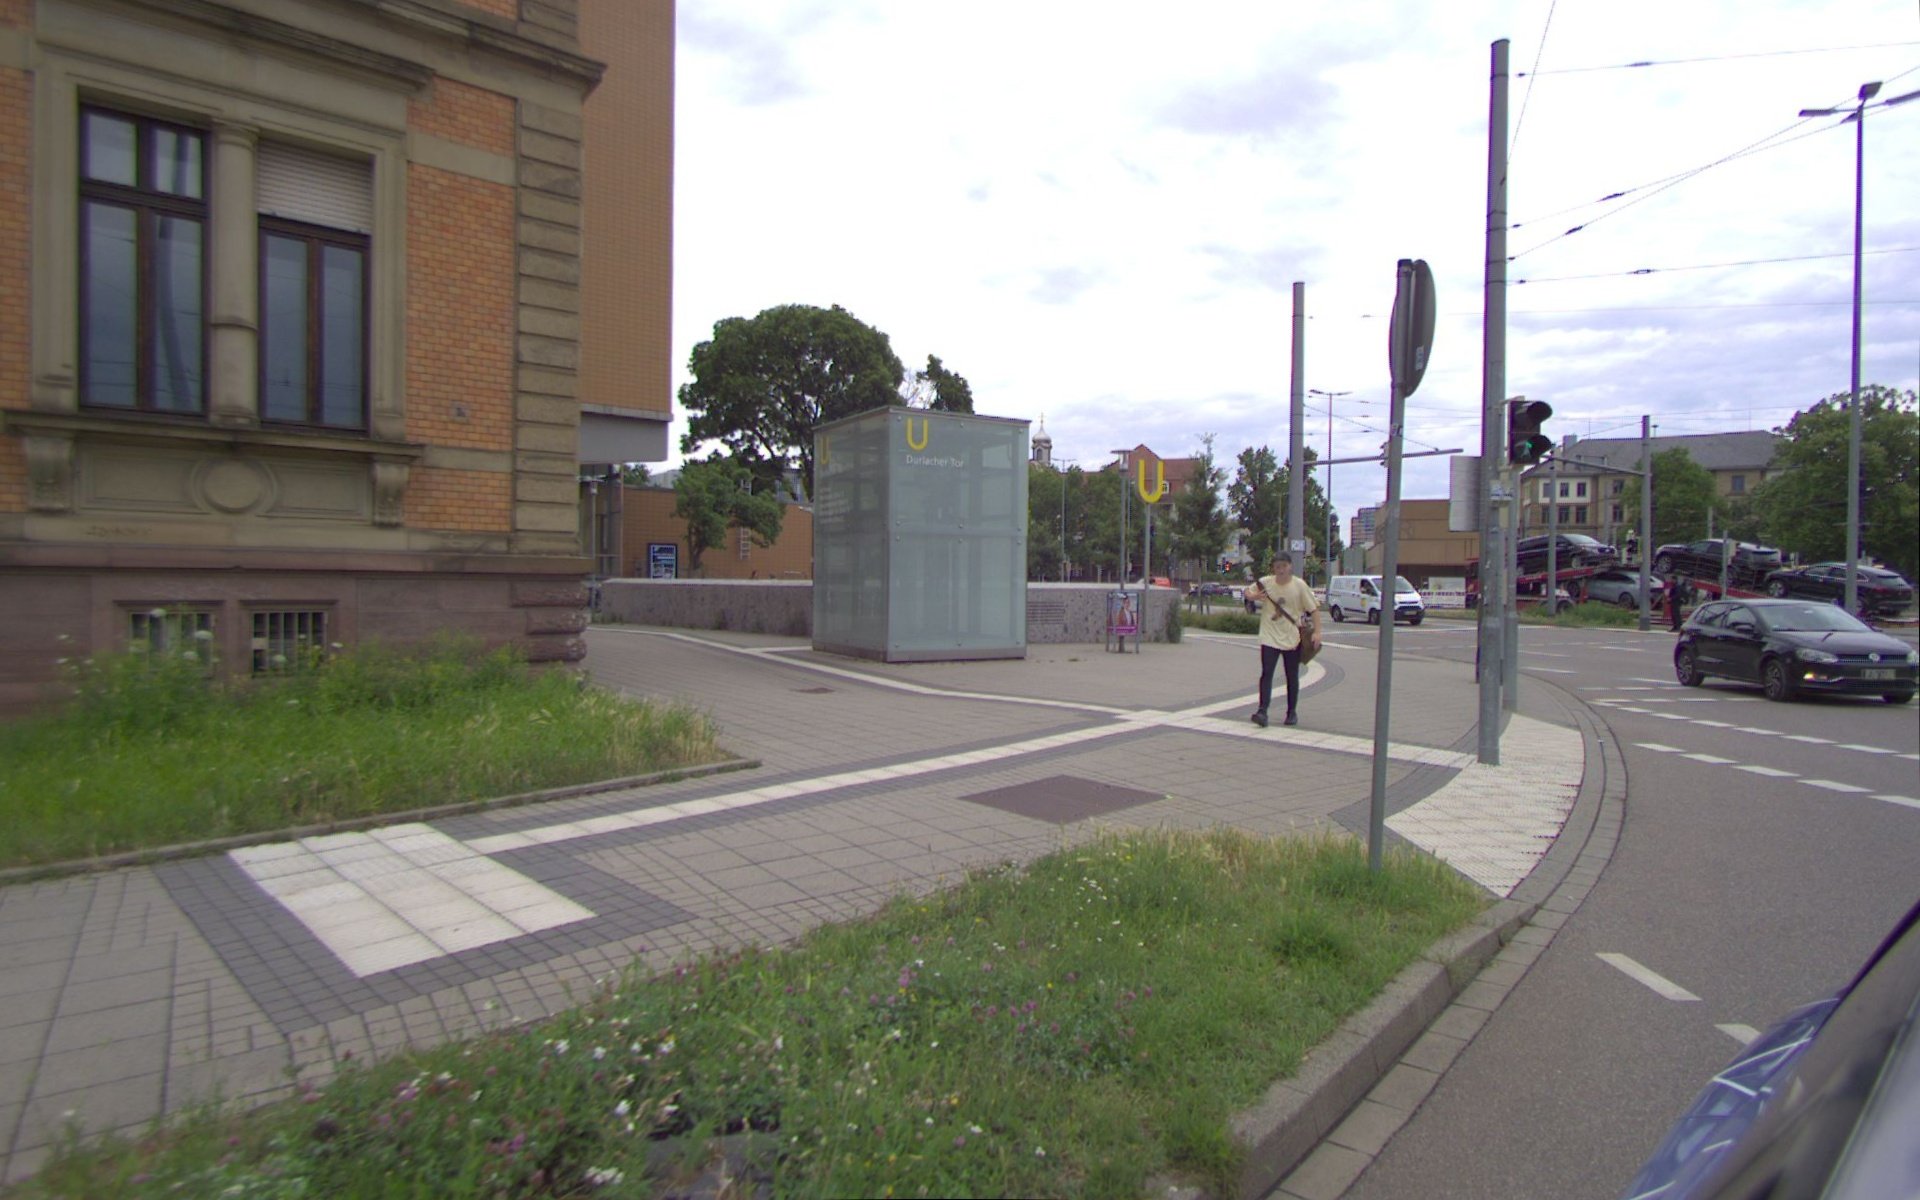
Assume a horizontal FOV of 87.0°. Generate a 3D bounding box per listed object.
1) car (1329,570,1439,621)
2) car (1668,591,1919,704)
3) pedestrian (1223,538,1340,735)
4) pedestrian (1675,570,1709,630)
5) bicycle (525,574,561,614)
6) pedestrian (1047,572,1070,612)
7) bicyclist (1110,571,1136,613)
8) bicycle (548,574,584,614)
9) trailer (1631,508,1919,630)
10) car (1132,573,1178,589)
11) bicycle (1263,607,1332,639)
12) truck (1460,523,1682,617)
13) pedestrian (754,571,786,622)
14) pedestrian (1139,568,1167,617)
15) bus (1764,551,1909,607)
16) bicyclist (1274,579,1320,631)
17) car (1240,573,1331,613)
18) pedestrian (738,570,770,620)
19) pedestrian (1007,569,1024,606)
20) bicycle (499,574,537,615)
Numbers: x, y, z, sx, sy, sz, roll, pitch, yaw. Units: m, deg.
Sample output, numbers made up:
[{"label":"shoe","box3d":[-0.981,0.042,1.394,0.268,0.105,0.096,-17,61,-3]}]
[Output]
[{"label":"car","box3d":[17.200,-0.213,41.332,1.958,1.966,4.532,0,1,-10]},{"label":"car","box3d":[12.529,0.602,15.223,1.631,1.430,3.986,1,1,12]},{"label":"pedestrian","box3d":[3.342,0.331,10.468,0.880,1.891,1.272,1,1,31]},{"label":"pedestrian","box3d":[24.144,-0.009,33.407,0.774,1.967,0.971,1,1,30]},{"label":"bicycle","box3d":[-14.669,-0.226,35.568,0.724,1.356,2.612,-1,1,-32]},{"label":"pedestrian","box3d":[4.598,-0.365,47.226,0.821,1.828,0.705,0,1,-16]},{"label":"bicyclist","box3d":[6.225,-0.291,38.635,0.686,1.580,0.918,2,0,27]},{"label":"bicycle","box3d":[-14.010,-0.233,35.959,0.671,1.356,2.612,-1,1,-32]},{"label":"trailer","box3d":[30.949,-1.159,38.372,2.934,4.022,9.575,-1,1,-16]},{"label":"car","box3d":[21.826,-2.090,113.172,5.141,1.738,1.914,0,1,-33]},{"label":"bicycle","box3d":[10.101,0.685,30.328,1.788,0.850,0.769,2,0,-12]},{"label":"truck","box3d":[28.637,-1.399,48.312,2.953,3.968,10.475,-1,1,-9]},{"label":"pedestrian","box3d":[-6.669,-0.142,35.546,0.722,1.752,0.860,1,1,44]},{"label":"pedestrian","box3d":[7.729,-0.297,40.529,0.859,1.952,0.723,0,1,-41]},{"label":"bus","box3d":[54.328,-1.357,63.224,2.830,3.115,11.940,0,2,21]},{"label":"bicyclist","box3d":[10.094,0.139,30.326,1.078,1.539,0.761,0,1,-12]},{"label":"car","box3d":[16.016,-0.379,50.077,2.047,1.872,4.762,0,1,-14]},{"label":"pedestrian","box3d":[-7.330,-0.188,36.057,0.722,1.764,0.860,1,1,44]},{"label":"pedestrian","box3d":[2.793,-0.626,51.275,0.618,1.823,0.599,3,0,-12]},{"label":"bicycle","box3d":[-15.347,-0.206,35.122,0.799,1.356,2.612,-1,1,-32]}]
